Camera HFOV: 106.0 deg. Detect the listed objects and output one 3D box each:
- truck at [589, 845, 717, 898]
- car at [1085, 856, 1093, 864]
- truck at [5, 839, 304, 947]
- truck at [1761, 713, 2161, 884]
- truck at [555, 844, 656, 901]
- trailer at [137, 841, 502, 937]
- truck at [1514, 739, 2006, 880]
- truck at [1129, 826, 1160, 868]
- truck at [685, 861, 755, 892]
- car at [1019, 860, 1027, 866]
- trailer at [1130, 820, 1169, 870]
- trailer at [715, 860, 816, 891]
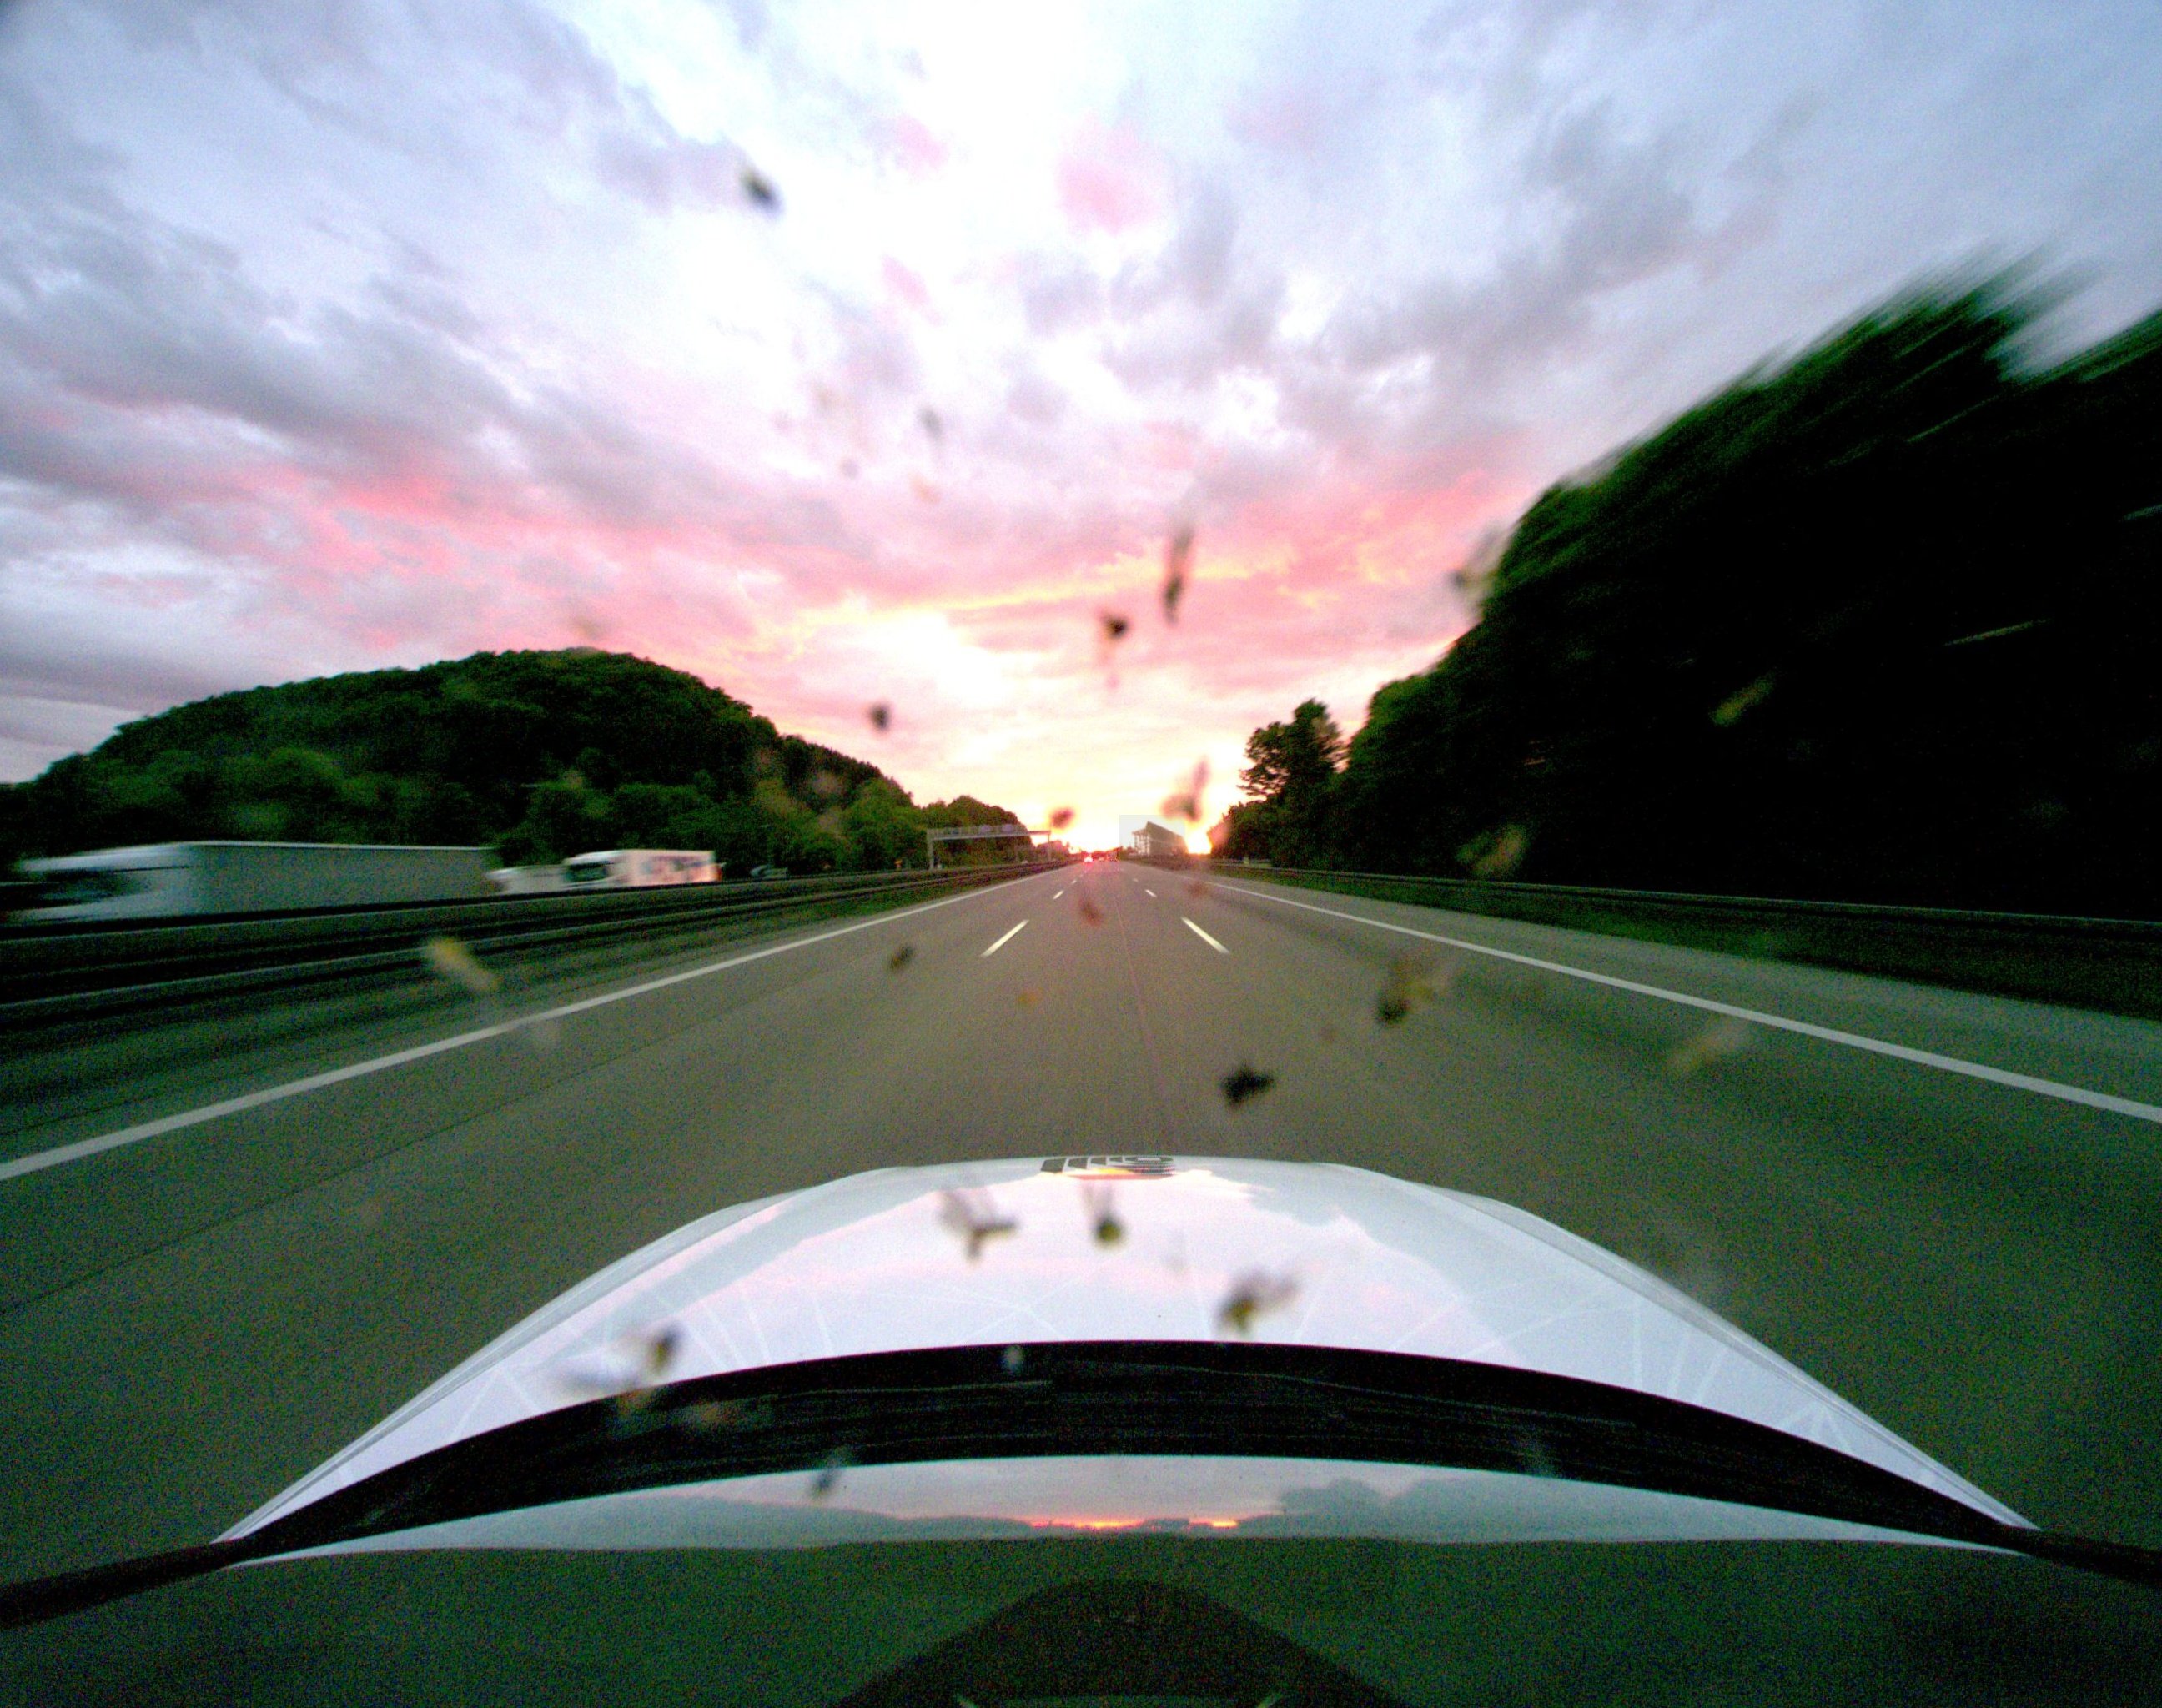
[{"bbox_3d":[-31.386,1.181,60.774,2.867,3.425,13.775,-1,0,-3],"label":"truck"},{"bbox_3d":[2.148,1.625,220.192,2.006,1.749,3.903,-5,-1,1],"label":"car"},{"bbox_3d":[-32.870,1.260,29.422,2.862,3.425,6.731,-1,0,3],"label":"truck"},{"bbox_3d":[26.598,-1.381,24.937,3.764,4.229,8.805,-2,-1,-3],"label":"truck"},{"bbox_3d":[-31.102,1.141,53.662,2.866,3.425,6.720,-1,0,-2],"label":"truck"},{"bbox_3d":[-32.550,1.283,36.479,2.862,3.425,13.858,-1,0,2],"label":"trailer"},{"bbox_3d":[26.073,-1.264,34.769,3.766,4.229,19.502,-2,-1,-3],"label":"truck"},{"bbox_3d":[6.290,-0.603,81.021,2.726,3.996,5.851,-1,-1,2],"label":"truck"},{"bbox_3d":[-45.243,2.787,102.297,2.975,3.679,7.727,-1,0,32],"label":"truck"},{"bbox_3d":[-15.026,2.253,211.810,1.635,1.421,3.536,-1,0,1],"label":"car"},{"bbox_3d":[6.094,-0.669,74.312,2.761,4.086,13.743,-1,-1,2],"label":"trailer"},{"bbox_3d":[-41.605,2.707,108.168,3.032,3.679,13.427,-1,0,32],"label":"trailer"}]
